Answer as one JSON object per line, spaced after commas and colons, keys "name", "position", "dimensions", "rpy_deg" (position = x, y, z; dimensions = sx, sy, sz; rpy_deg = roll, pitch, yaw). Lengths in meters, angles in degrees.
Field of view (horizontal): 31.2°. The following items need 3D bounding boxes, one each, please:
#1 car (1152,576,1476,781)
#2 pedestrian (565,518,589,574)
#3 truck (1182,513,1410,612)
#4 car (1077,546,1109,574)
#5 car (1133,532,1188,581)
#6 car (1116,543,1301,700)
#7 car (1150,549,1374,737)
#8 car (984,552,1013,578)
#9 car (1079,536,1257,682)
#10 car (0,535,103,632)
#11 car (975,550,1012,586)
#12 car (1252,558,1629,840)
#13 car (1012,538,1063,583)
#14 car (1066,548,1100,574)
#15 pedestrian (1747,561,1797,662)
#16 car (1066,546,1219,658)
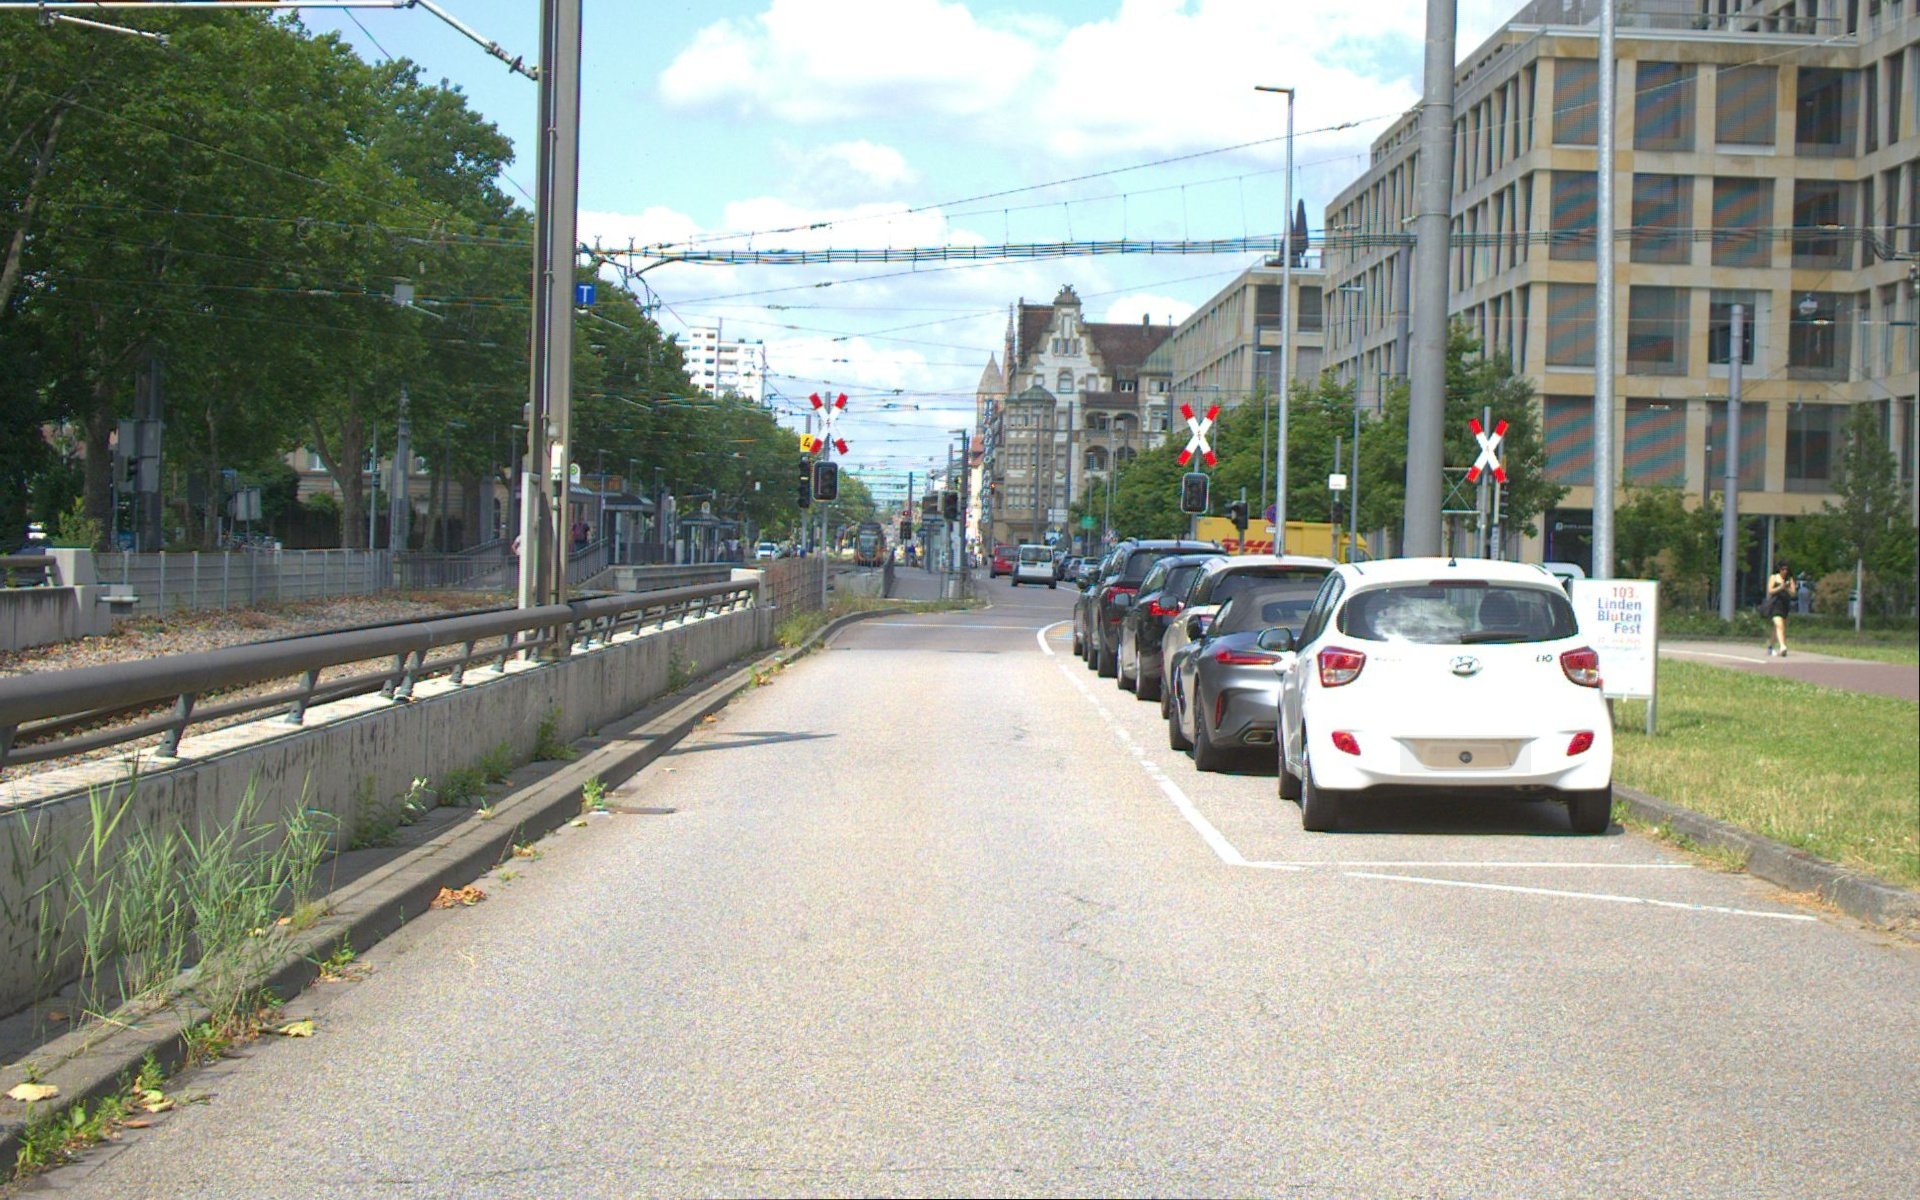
{"name": "car", "position": [2.481, 0.505, 25.093], "dimensions": [1.824, 1.307, 4.443], "rpy_deg": [1, 1, -1]}
{"name": "pedestrian", "position": [-12.802, -1.794, 114.857], "dimensions": [0.706, 1.839, 0.864], "rpy_deg": [1, 0, -2]}
{"name": "truck", "position": [10.617, -1.176, 108.861], "dimensions": [6.805, 2.857, 2.455], "rpy_deg": [2, 0, -3]}
{"name": "car", "position": [7.503, -2.241, 193.905], "dimensions": [1.591, 1.455, 3.613], "rpy_deg": [4, 1, 0]}
{"name": "car", "position": [8.169, -1.777, 140.220], "dimensions": [1.881, 1.932, 4.843], "rpy_deg": [1, 1, -1]}
{"name": "car", "position": [2.540, 0.186, 35.958], "dimensions": [1.644, 1.525, 4.442], "rpy_deg": [1, 1, 1]}
{"name": "car", "position": [2.564, 0.326, 29.918], "dimensions": [1.669, 1.510, 3.850], "rpy_deg": [1, 1, 1]}
{"name": "car", "position": [2.184, -2.027, 195.961], "dimensions": [1.443, 1.465, 4.093], "rpy_deg": [0, 1, -2]}
{"name": "car", "position": [2.485, 0.065, 42.112], "dimensions": [1.816, 1.656, 4.671], "rpy_deg": [1, 1, -1]}
{"name": "car", "position": [-16.293, -0.318, 59.944], "dimensions": [1.667, 1.591, 4.298], "rpy_deg": [1, 1, -1]}
{"name": "car", "position": [1.885, -1.833, 195.665], "dimensions": [1.993, 2.007, 4.000], "rpy_deg": [1, 0, 0]}
{"name": "car", "position": [2.717, 0.505, 20.192], "dimensions": [1.707, 1.474, 3.789], "rpy_deg": [1, 1, 1]}
{"name": "car", "position": [3.255, -1.670, 144.416], "dimensions": [1.868, 1.740, 4.000], "rpy_deg": [3, 1, -1]}
{"name": "car", "position": [7.313, -2.355, 205.101], "dimensions": [1.591, 1.429, 4.108], "rpy_deg": [4, 1, -3]}
{"name": "pedestrian", "position": [13.013, 0.188, 55.092], "dimensions": [0.622, 1.602, 0.624], "rpy_deg": [1, 0, -3]}
{"name": "car", "position": [2.539, -0.012, 48.785], "dimensions": [1.816, 1.449, 4.991], "rpy_deg": [1, 1, -1]}
